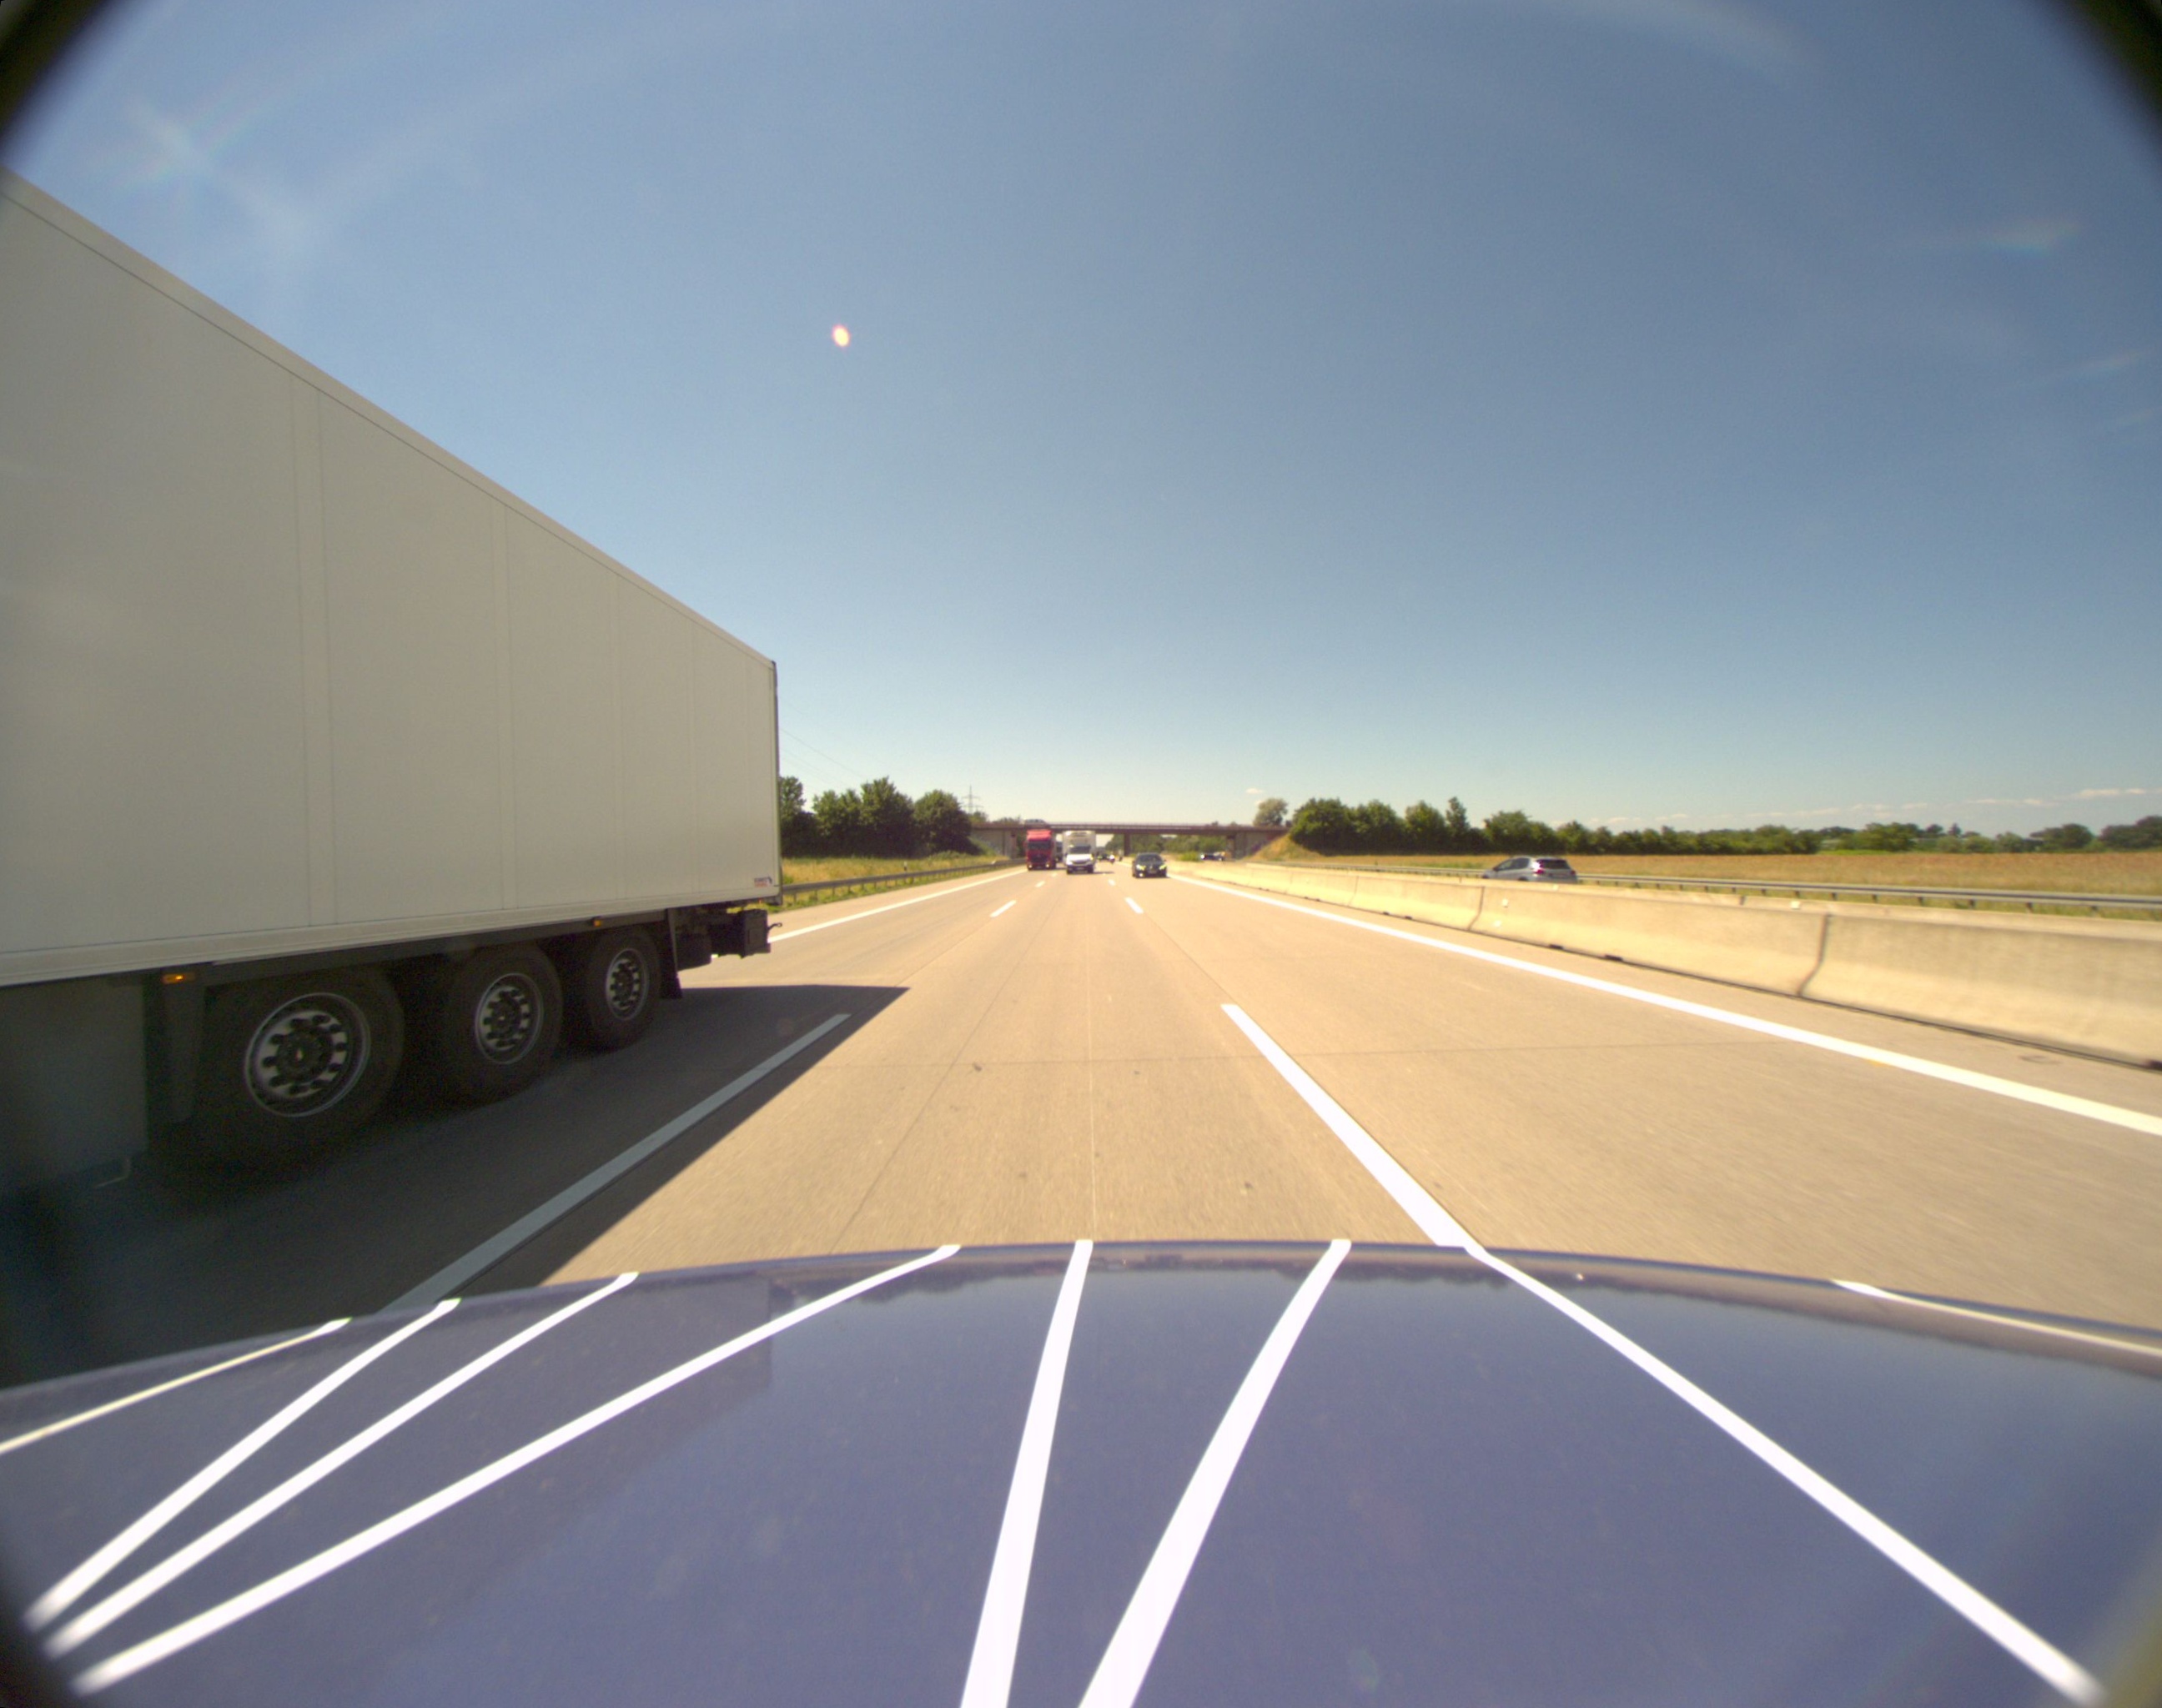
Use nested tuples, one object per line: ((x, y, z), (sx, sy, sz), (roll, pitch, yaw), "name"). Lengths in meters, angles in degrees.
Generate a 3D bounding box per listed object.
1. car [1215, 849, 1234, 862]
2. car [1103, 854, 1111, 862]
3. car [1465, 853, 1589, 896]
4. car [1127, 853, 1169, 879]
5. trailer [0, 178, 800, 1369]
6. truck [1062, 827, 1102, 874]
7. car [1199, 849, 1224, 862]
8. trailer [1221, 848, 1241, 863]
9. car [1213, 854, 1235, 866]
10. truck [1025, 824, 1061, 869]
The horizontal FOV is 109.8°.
((21.961, 0.239, 116.760), (1.870, 1.933, 5.565), (-2, 0, 1), "car")
((5.092, 0.825, 149.383), (1.557, 1.440, 3.776), (-2, 0, 2), "car")
((16.568, 0.702, 28.547), (1.740, 1.365, 4.905), (-2, 0, 0), "car")
((4.059, 0.689, 46.862), (1.999, 1.462, 6.346), (0, 0, 0), "car")
((-4.990, -0.265, 2.938), (2.715, 4.020, 12.901), (-2, 0, 1), "trailer")
((0.122, -0.313, 59.255), (2.784, 3.328, 7.812), (-2, 0, 1), "truck")
((13.419, 0.089, 78.153), (1.776, 1.233, 4.676), (-2, 0, 0), "car")
((21.910, 0.211, 111.136), (1.814, 2.030, 5.613), (-2, 0, 1), "trailer")
((18.137, 0.719, 96.614), (1.717, 1.351, 5.043), (-2, 0, 0), "car")
((-3.836, -0.787, 79.567), (2.855, 4.298, 10.885), (-2, 0, 1), "truck")
